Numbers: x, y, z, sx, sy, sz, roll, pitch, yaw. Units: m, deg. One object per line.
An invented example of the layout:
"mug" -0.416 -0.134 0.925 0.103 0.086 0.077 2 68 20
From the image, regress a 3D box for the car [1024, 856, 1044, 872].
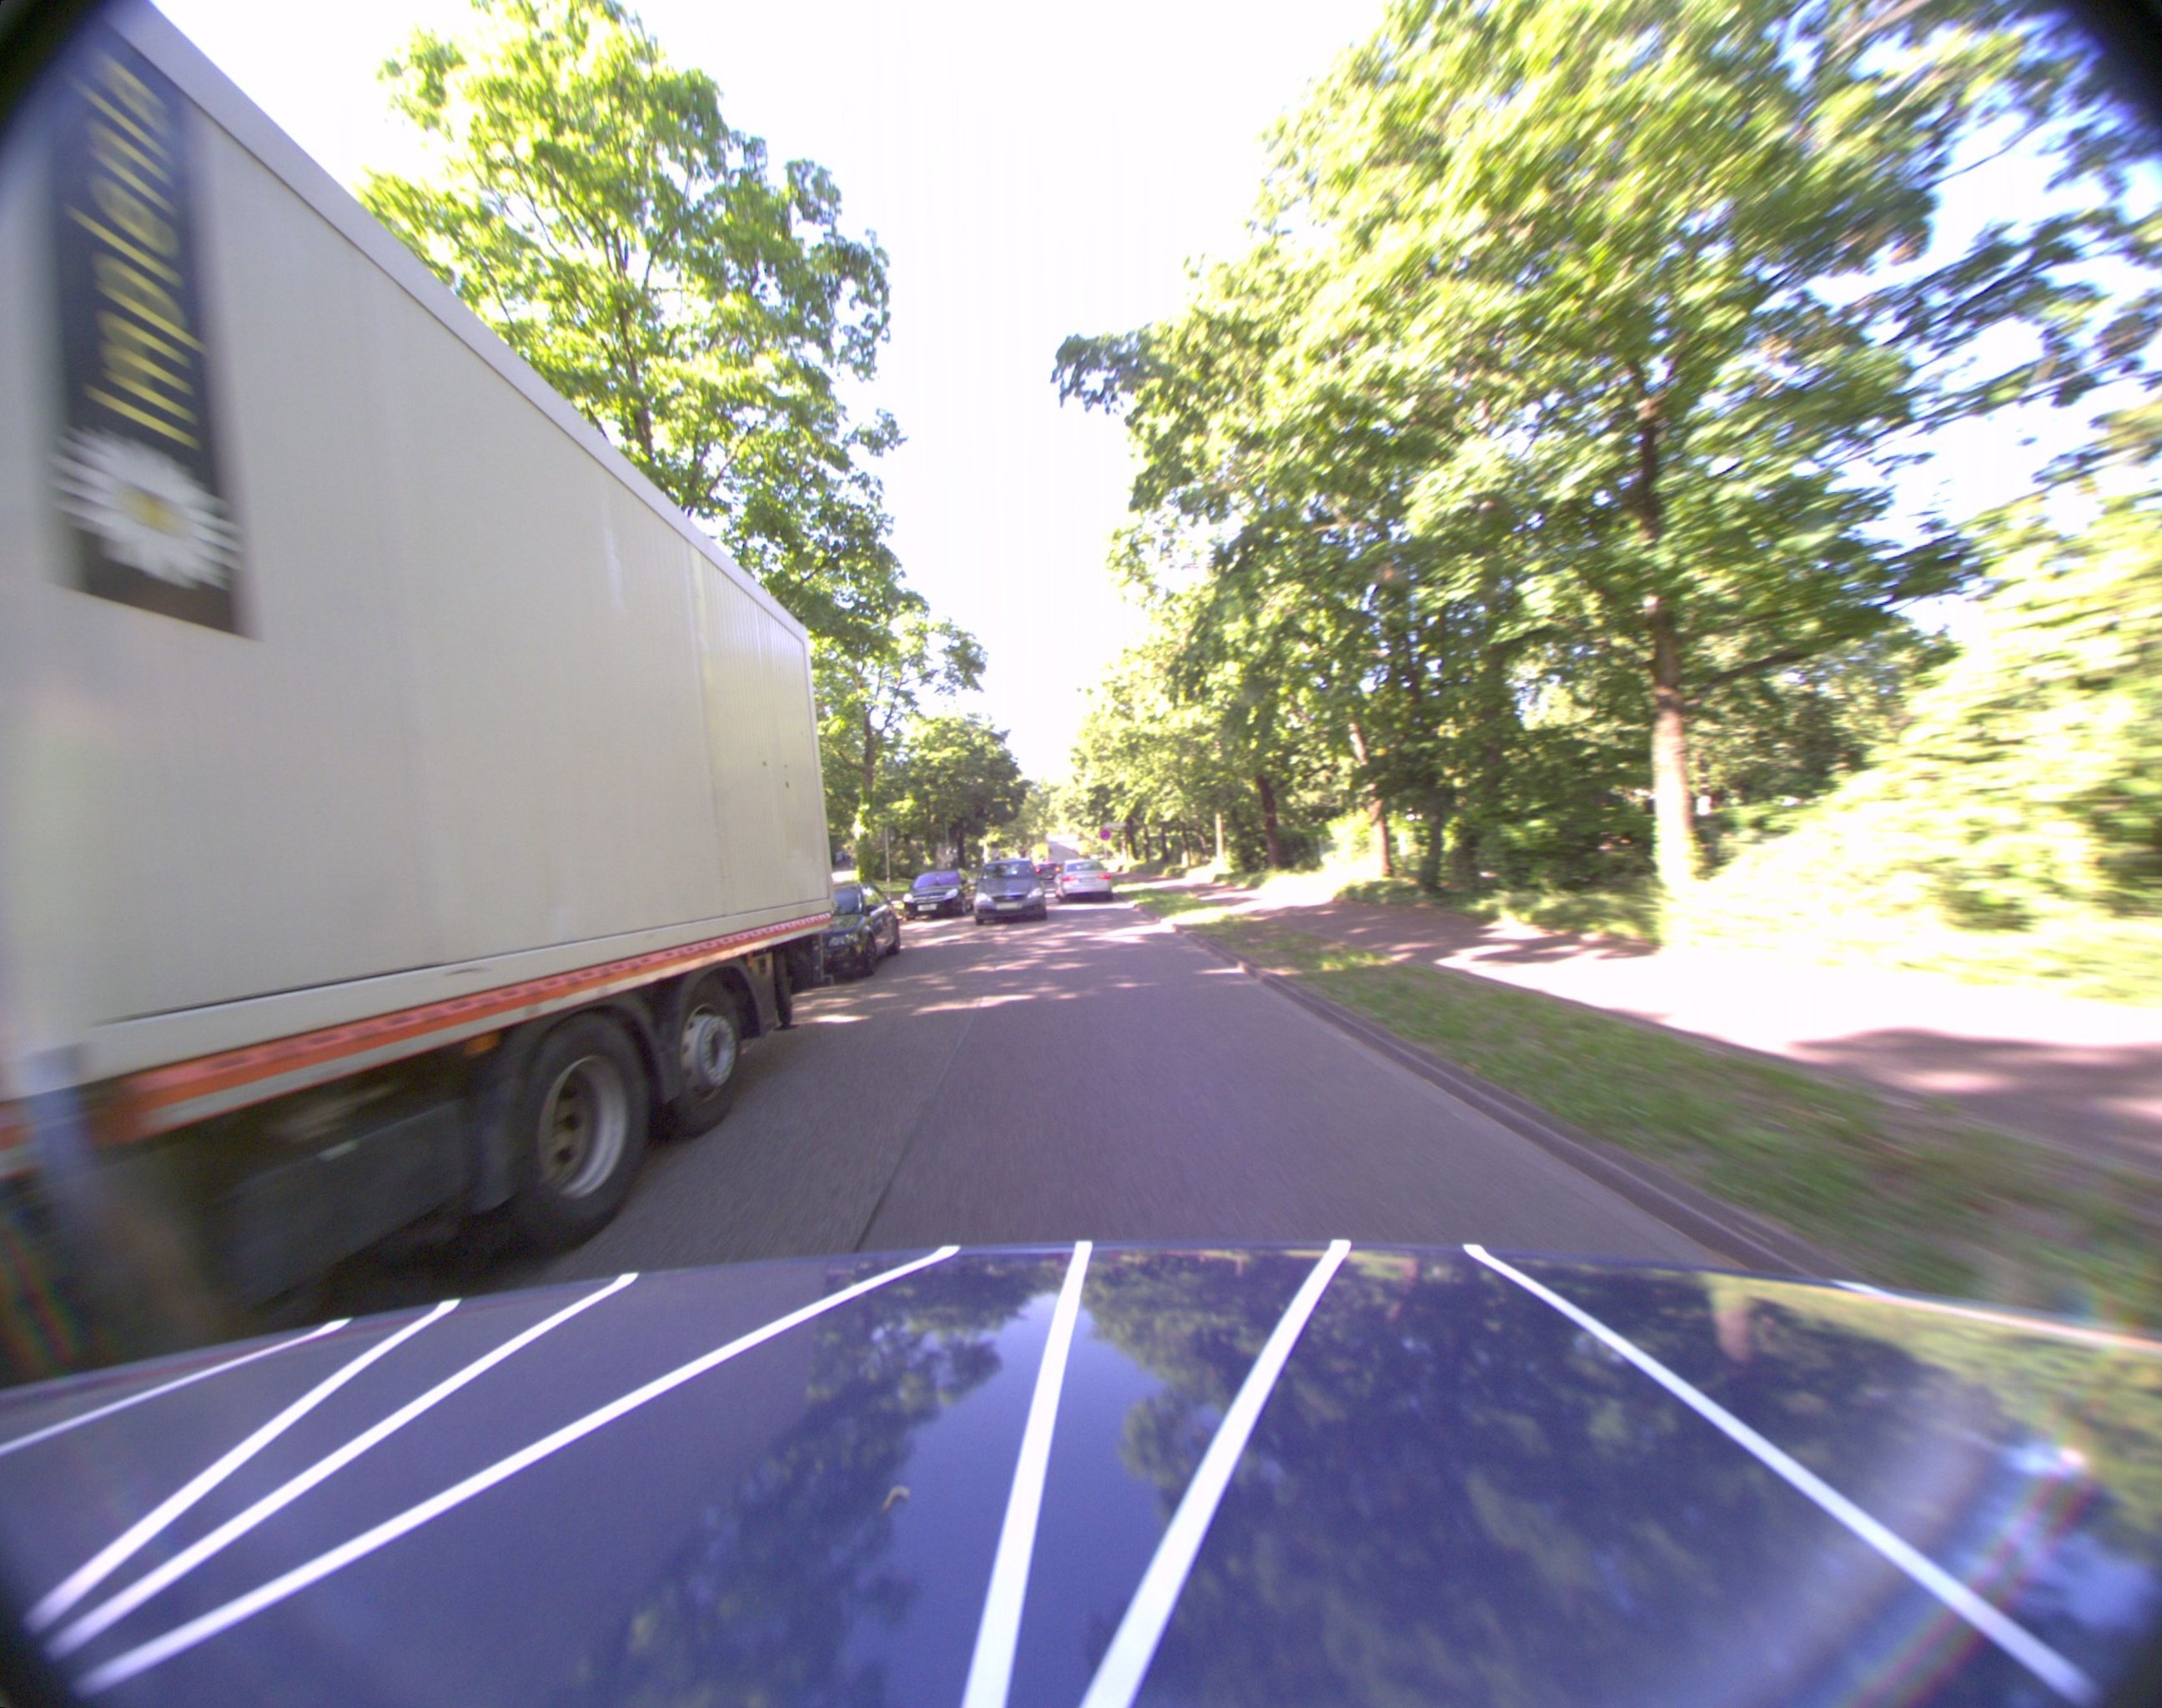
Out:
"car" -4.724 0.972 76.431 1.604 1.418 3.652 -3 0 2

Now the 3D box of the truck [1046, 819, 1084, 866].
"truck" -1.493 -0.929 66.490 2.742 3.620 8.099 -5 0 -3

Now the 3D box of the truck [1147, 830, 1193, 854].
"truck" 8.640 -1.164 74.284 3.998 2.002 2.203 -3 0 -4

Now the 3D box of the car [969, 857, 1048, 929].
"car" -1.861 0.945 20.079 1.735 1.578 3.999 -5 0 -4

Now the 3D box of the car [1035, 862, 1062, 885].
"car" -2.330 1.351 53.910 1.760 1.445 4.241 -3 0 -4

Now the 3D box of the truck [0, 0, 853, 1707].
"truck" -3.622 0.006 2.288 2.780 3.972 10.346 -5 0 -2

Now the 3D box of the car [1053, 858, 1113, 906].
"car" 0.046 0.877 25.817 1.791 1.408 4.104 -3 0 -1

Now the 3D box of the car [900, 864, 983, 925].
"car" -4.254 1.189 23.824 1.753 1.472 4.029 -5 1 0

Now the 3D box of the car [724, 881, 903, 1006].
"car" -4.050 1.276 12.216 1.645 1.412 3.998 -5 0 -5
